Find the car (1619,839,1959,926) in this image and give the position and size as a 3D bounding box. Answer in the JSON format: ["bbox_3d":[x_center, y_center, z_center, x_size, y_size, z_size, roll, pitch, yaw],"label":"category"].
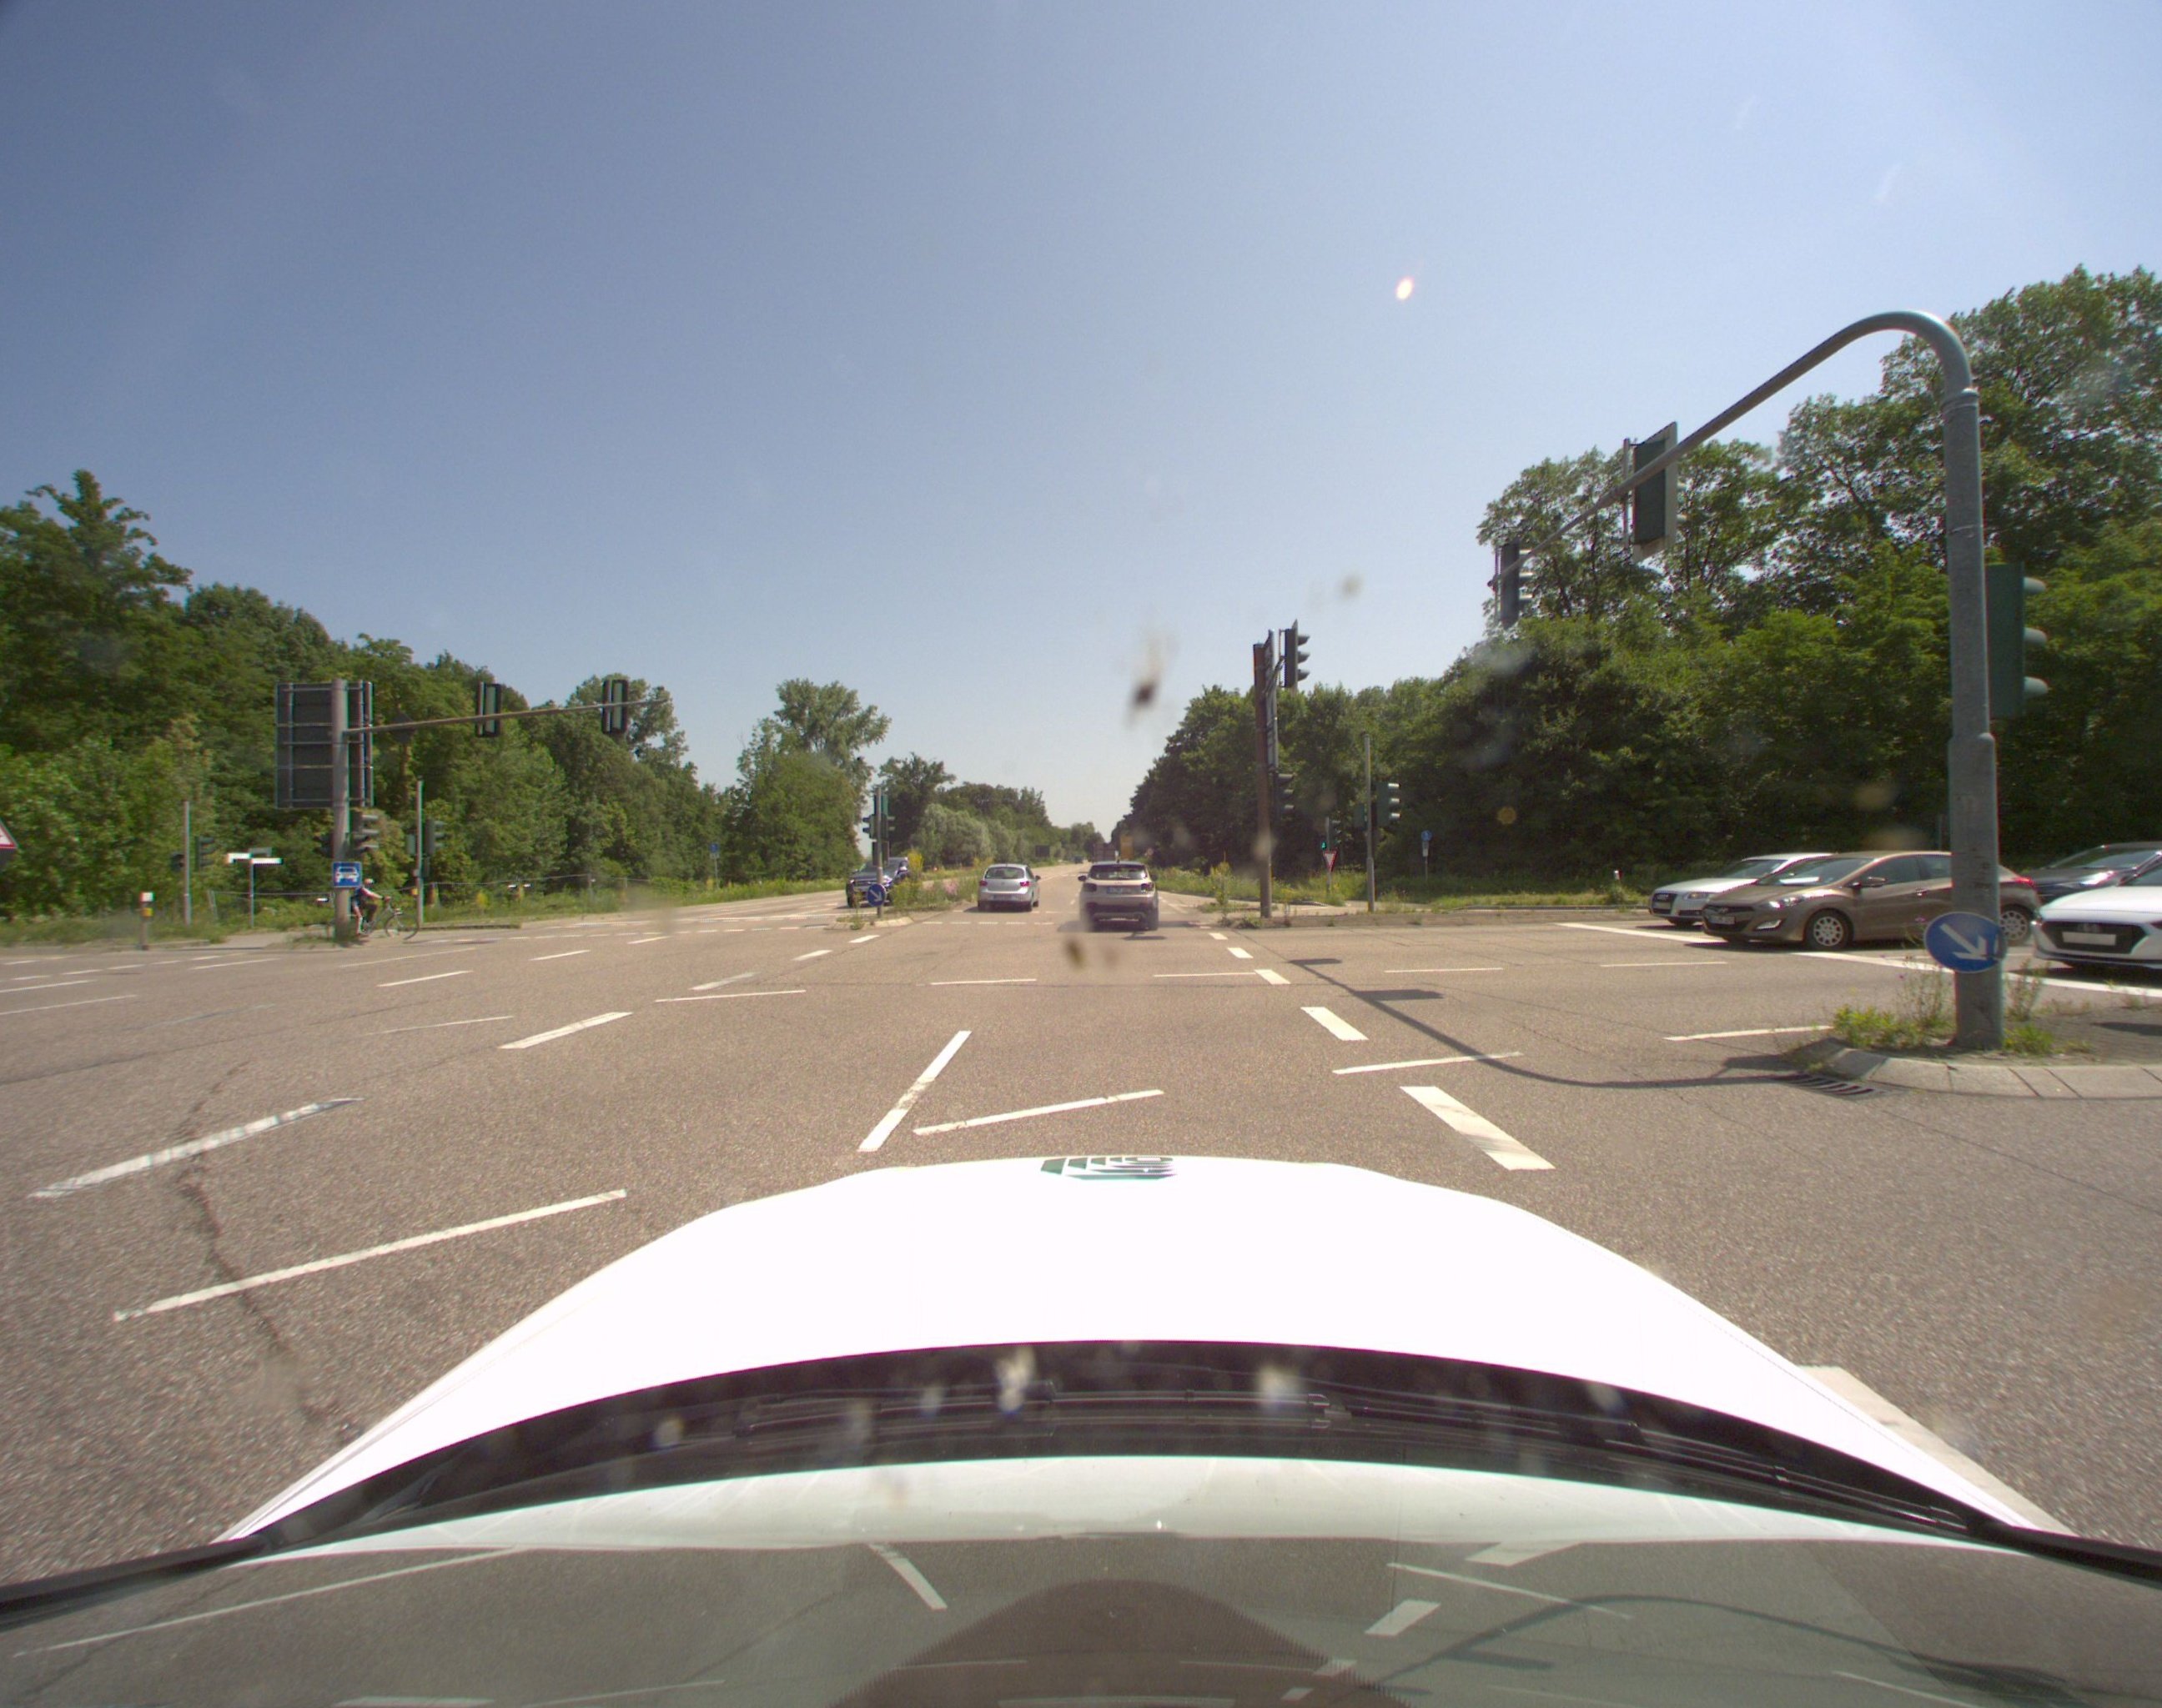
[{"bbox_3d":[13.878,0.556,16.231,4.912,1.498,2.021,-1,-1,2],"label":"car"}]

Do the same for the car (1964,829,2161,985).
[{"bbox_3d":[12.930,0.469,8.886,4.405,1.535,2.000,-2,-1,0],"label":"car"}]

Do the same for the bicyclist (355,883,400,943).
[{"bbox_3d":[-18.132,1.500,20.997,0.914,1.459,0.721,-2,-1,39],"label":"bicyclist"}]

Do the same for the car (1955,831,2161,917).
[{"bbox_3d":[20.309,0.319,15.667,4.599,1.498,2.113,-2,-1,2],"label":"car"}]

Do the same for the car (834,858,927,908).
[{"bbox_3d":[-7.649,1.047,31.745,1.985,1.678,5.369,-3,0,3],"label":"car"}]

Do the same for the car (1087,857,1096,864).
[{"bbox_3d":[2.940,1.833,228.597,1.985,2.013,4.558,-2,0,4],"label":"car"}]

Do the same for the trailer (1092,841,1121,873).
[{"bbox_3d":[3.422,0.446,104.950,3.368,3.989,10.813,0,-1,4],"label":"trailer"}]

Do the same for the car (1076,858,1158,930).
[{"bbox_3d":[0.882,0.879,19.542,1.760,1.535,4.003,-1,0,3],"label":"car"}]

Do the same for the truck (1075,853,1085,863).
[{"bbox_3d":[-0.247,1.002,232.324,2.444,2.656,6.495,-4,0,2],"label":"truck"}]

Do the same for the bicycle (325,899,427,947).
[{"bbox_3d":[-18.152,1.741,20.995,0.715,1.063,1.881,-2,-1,39],"label":"bicycle"}]

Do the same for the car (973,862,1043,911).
[{"bbox_3d":[-2.231,0.962,25.788,1.659,1.430,3.831,0,0,3],"label":"car"}]

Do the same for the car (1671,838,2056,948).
[{"bbox_3d":[11.955,0.564,12.692,4.079,1.447,1.995,-2,-1,0],"label":"car"}]
